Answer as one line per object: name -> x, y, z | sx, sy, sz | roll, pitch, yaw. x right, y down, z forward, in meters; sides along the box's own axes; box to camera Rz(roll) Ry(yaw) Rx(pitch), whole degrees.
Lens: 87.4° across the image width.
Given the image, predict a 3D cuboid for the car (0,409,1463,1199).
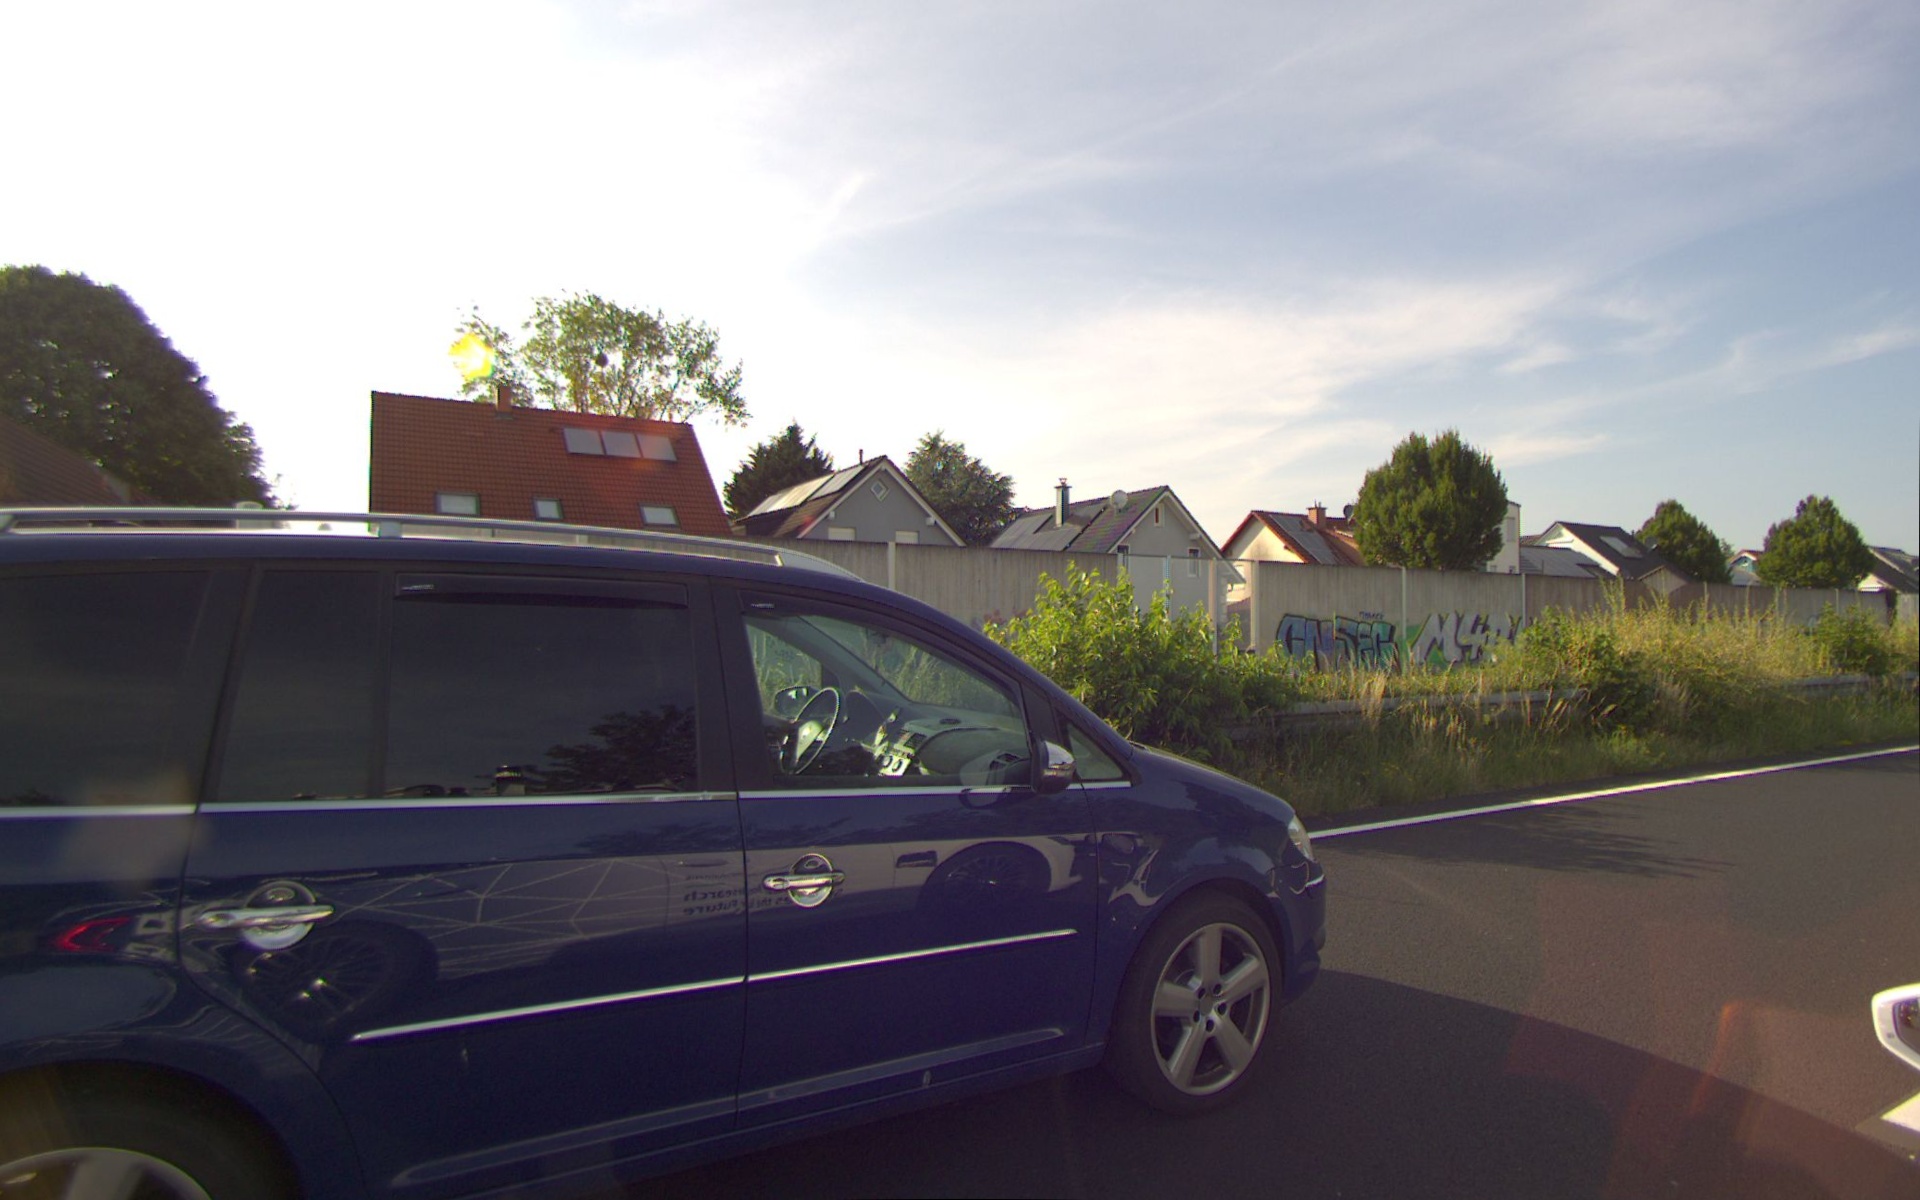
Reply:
car -> -0.681, 0.563, 3.106 | 4.627, 1.643, 1.764 | 2, -1, -30
